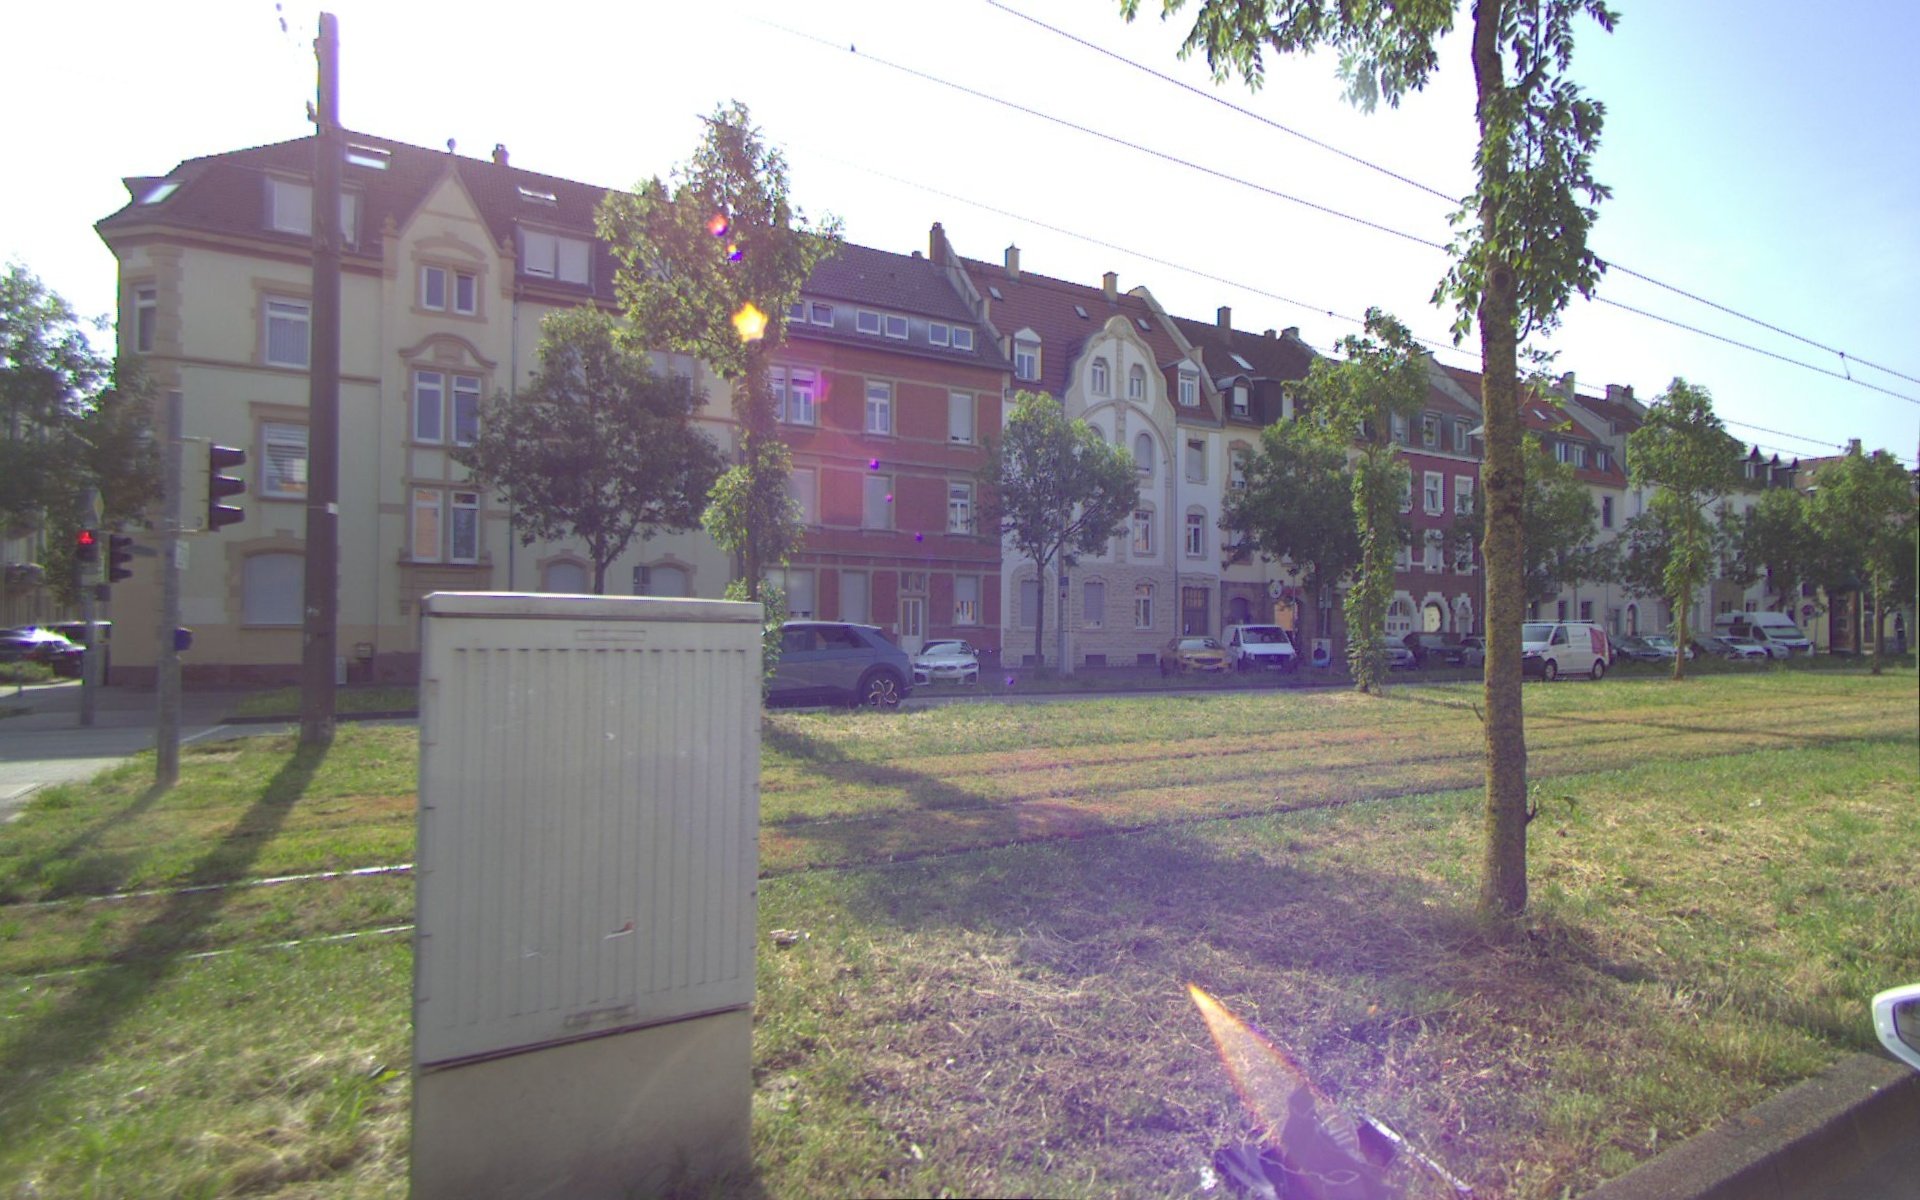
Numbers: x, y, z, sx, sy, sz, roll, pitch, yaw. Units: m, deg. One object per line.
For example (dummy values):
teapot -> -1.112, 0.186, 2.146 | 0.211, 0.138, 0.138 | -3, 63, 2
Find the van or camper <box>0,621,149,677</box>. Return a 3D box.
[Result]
van or camper -> -32.941, 1.784, 36.873 | 4.972, 1.947, 1.777 | 1, -2, 3

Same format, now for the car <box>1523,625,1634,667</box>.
car -> 27.614, 2.039, 45.056 | 1.799, 1.765, 4.646 | 0, -2, -5

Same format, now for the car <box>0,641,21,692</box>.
car -> -26.948, 1.696, 25.678 | 3.953, 1.316, 1.660 | 2, -3, -30

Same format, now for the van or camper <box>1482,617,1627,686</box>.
van or camper -> 20.329, 1.744, 34.296 | 5.291, 2.125, 1.941 | 2, 0, -31

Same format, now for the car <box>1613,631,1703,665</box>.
car -> 32.499, 2.198, 46.918 | 1.629, 1.334, 4.016 | 2, 0, 5

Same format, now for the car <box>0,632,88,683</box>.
car -> -29.419, 1.741, 30.646 | 3.953, 1.534, 1.660 | 2, -3, -30

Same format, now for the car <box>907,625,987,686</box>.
car -> -0.265, 1.522, 28.568 | 1.983, 1.505, 4.780 | 2, -2, 2

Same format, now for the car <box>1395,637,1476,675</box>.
car -> 18.717, 2.175, 39.696 | 1.629, 1.258, 3.688 | -1, 0, 4

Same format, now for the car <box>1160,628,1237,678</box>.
car -> 7.976, 1.734, 34.013 | 1.819, 1.366, 4.702 | 2, 0, 5

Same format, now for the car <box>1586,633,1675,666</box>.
car -> 30.319, 2.202, 45.561 | 1.629, 1.258, 3.687 | 2, 0, 2

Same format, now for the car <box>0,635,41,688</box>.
car -> -27.884, 1.653, 27.313 | 3.953, 1.431, 1.660 | 2, -3, -30

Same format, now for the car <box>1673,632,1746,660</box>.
car -> 38.586, 2.338, 51.781 | 1.628, 1.258, 3.689 | 2, 0, 13

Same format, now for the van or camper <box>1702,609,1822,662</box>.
van or camper -> 43.875, 1.866, 55.188 | 2.155, 2.608, 5.928 | 2, 0, 5

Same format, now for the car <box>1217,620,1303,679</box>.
car -> 10.341, 1.653, 34.979 | 1.819, 1.749, 4.954 | 2, 0, 5

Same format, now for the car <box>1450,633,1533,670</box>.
car -> 21.568, 2.044, 40.926 | 1.629, 1.258, 3.688 | 2, 0, 5

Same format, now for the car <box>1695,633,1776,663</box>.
car -> 41.132, 2.516, 53.351 | 1.629, 1.349, 3.688 | 2, 0, 5

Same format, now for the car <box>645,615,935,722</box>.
car -> -2.848, 1.121, 17.157 | 4.523, 1.553, 1.825 | 2, 0, -30

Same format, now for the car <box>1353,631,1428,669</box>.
car -> 16.163, 1.855, 37.881 | 1.495, 1.258, 3.688 | -1, 0, 4
